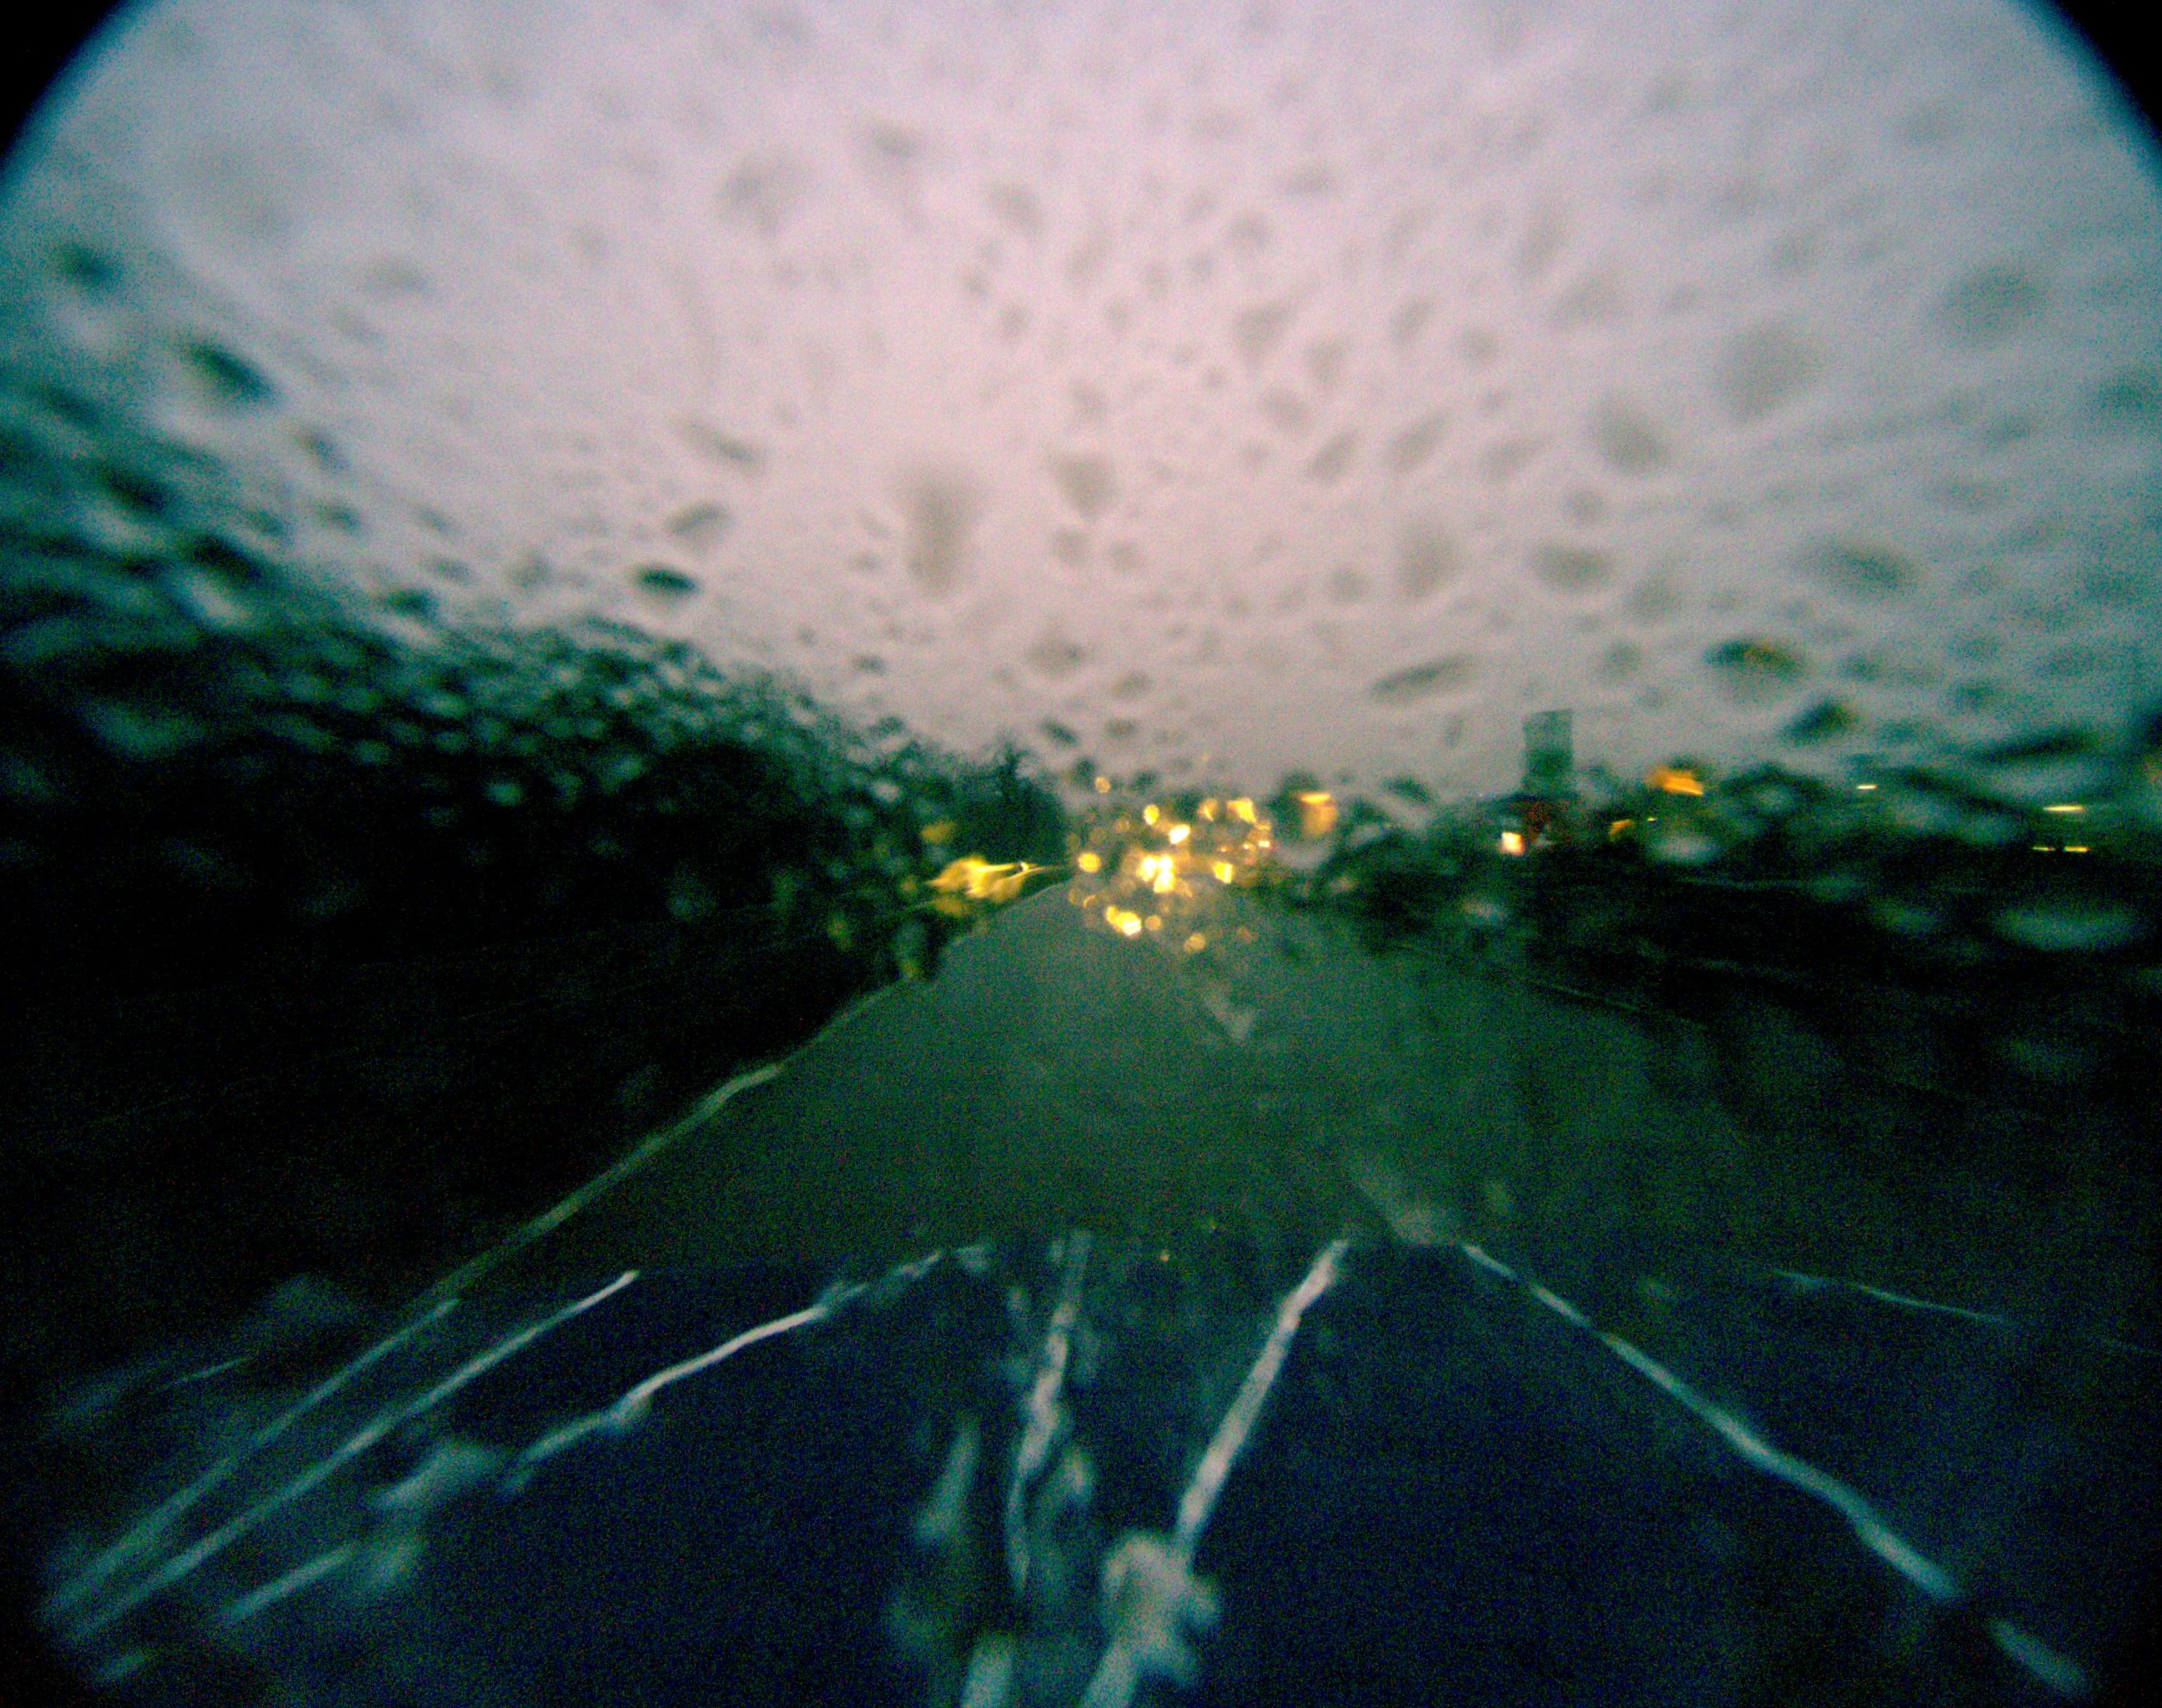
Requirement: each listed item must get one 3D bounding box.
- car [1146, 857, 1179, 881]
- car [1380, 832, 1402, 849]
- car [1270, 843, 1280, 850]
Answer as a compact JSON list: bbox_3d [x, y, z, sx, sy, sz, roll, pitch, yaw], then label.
[{"bbox_3d":[8.050,1.455,74.911,1.996,2.002,4.005,-4,1,23],"label":"car"},{"bbox_3d":[59.888,-2.705,146.514,3.194,3.192,9.954,1,2,26],"label":"car"},{"bbox_3d":[42.141,-1.555,164.978,1.673,1.412,4.086,0,1,19],"label":"car"}]
